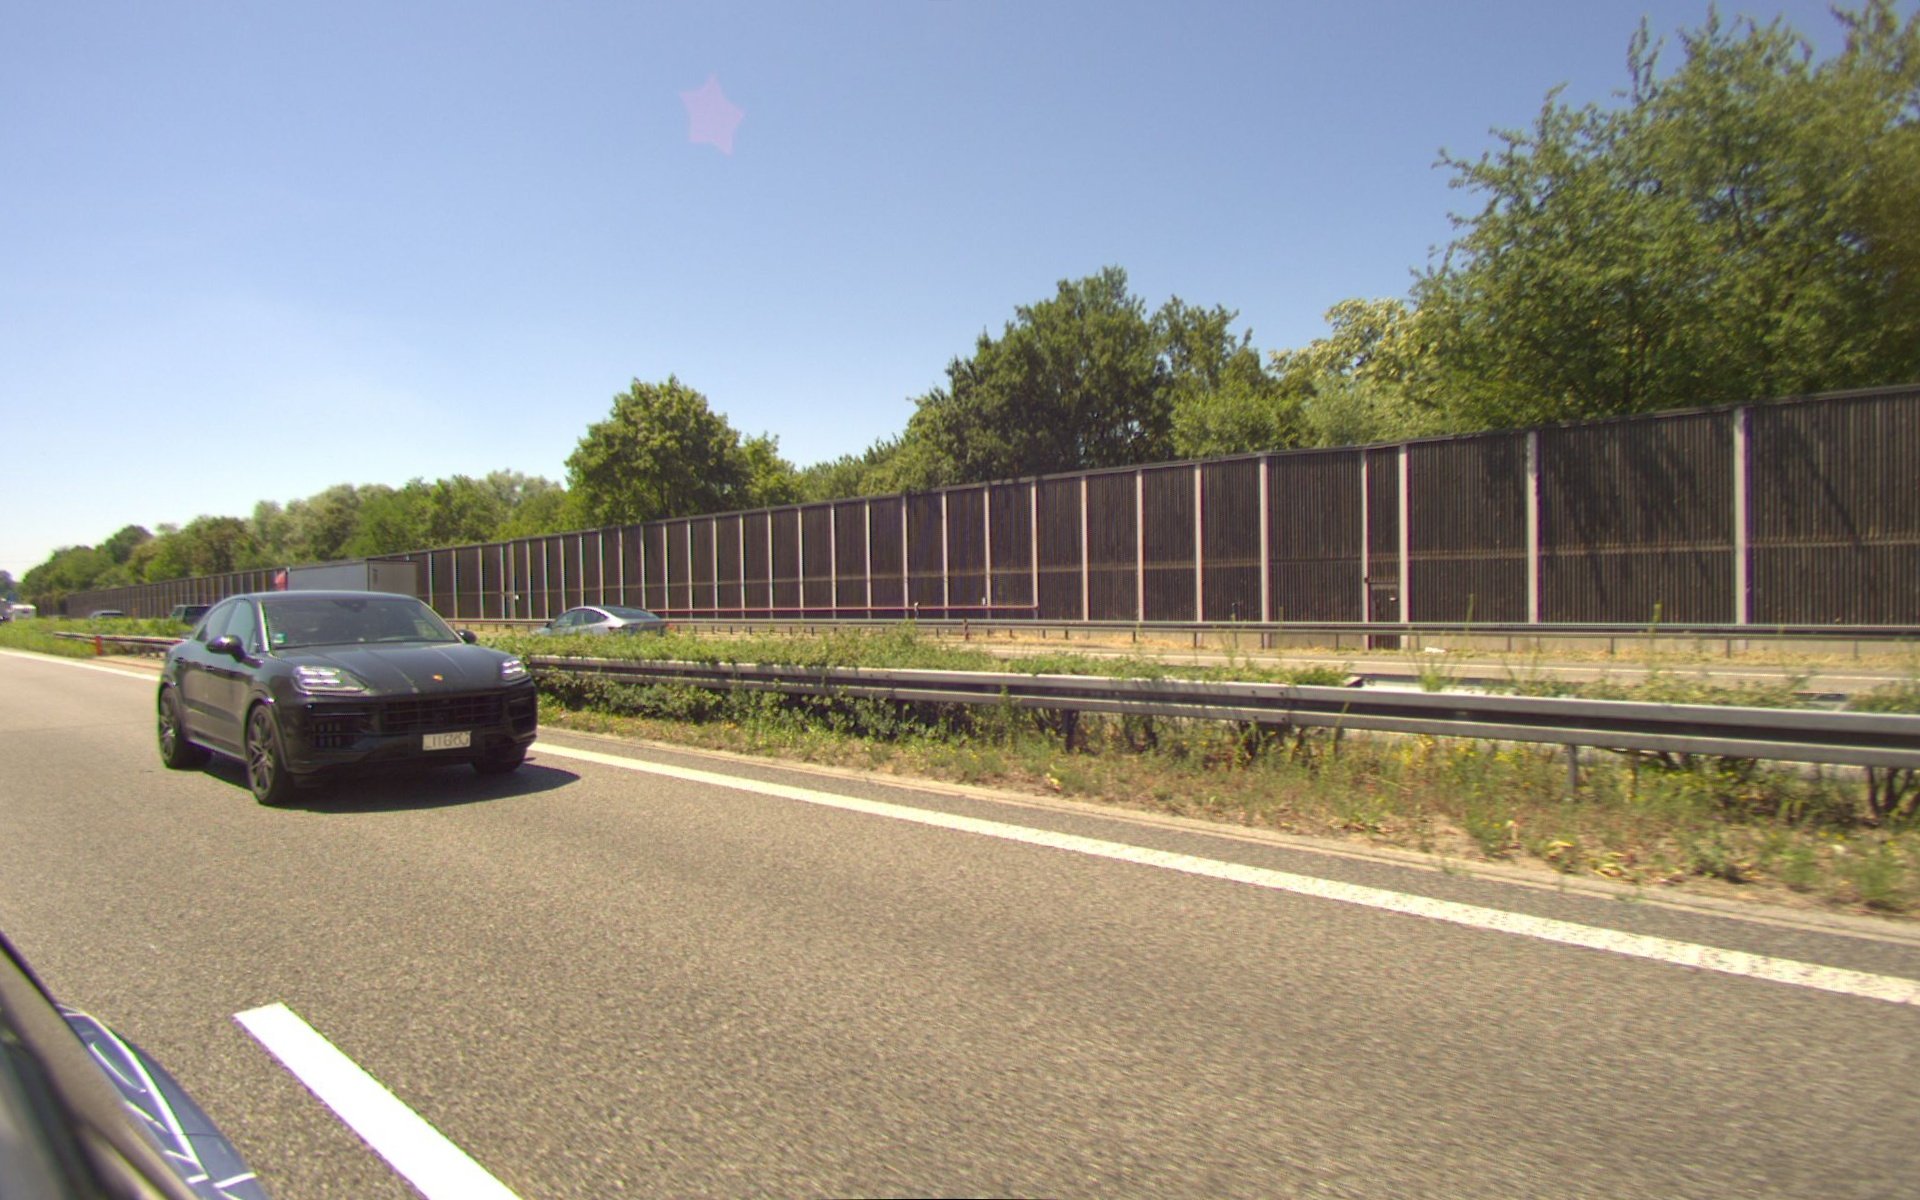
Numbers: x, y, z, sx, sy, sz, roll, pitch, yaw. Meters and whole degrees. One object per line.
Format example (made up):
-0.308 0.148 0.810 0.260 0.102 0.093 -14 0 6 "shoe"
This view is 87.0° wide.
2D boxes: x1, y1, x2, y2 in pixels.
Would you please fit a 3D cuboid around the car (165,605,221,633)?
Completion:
-51.873 1.264 68.410 5.217 1.829 1.973 -1 0 41 "car"

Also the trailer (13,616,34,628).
-130.624 3.074 141.144 3.090 1.590 1.709 -1 -7 41 "trailer"

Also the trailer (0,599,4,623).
-170.651 1.981 178.341 14.208 4.107 2.316 -1 -1 43 "trailer"

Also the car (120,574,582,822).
-5.901 0.687 9.372 5.769 1.637 2.022 -1 0 41 "car"

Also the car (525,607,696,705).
-8.208 1.236 23.638 3.998 1.962 1.973 -1 3 41 "car"

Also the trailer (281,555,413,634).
-35.539 -0.190 58.288 14.266 4.118 2.469 -1 -1 42 "trailer"

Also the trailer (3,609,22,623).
-183.261 3.119 195.663 6.266 2.495 2.108 -1 -1 42 "trailer"

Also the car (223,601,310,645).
-29.426 0.954 42.917 4.530 1.733 1.973 -1 0 41 "car"

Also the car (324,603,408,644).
-27.250 1.049 46.359 4.530 1.733 1.973 -1 0 41 "car"

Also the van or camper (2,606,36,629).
-134.530 2.520 144.635 7.371 2.936 2.531 -1 -7 41 "van or camper"

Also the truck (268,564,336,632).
-41.221 -0.092 63.366 4.676 4.118 2.460 -1 -1 42 "truck"

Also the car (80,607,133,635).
-55.454 1.358 65.740 4.243 1.733 1.973 -1 0 41 "car"

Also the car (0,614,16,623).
-155.864 3.004 165.344 4.581 1.385 1.899 -1 0 42 "car"

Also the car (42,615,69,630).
-100.013 2.509 111.857 3.999 1.612 1.794 -1 -1 42 "car"
